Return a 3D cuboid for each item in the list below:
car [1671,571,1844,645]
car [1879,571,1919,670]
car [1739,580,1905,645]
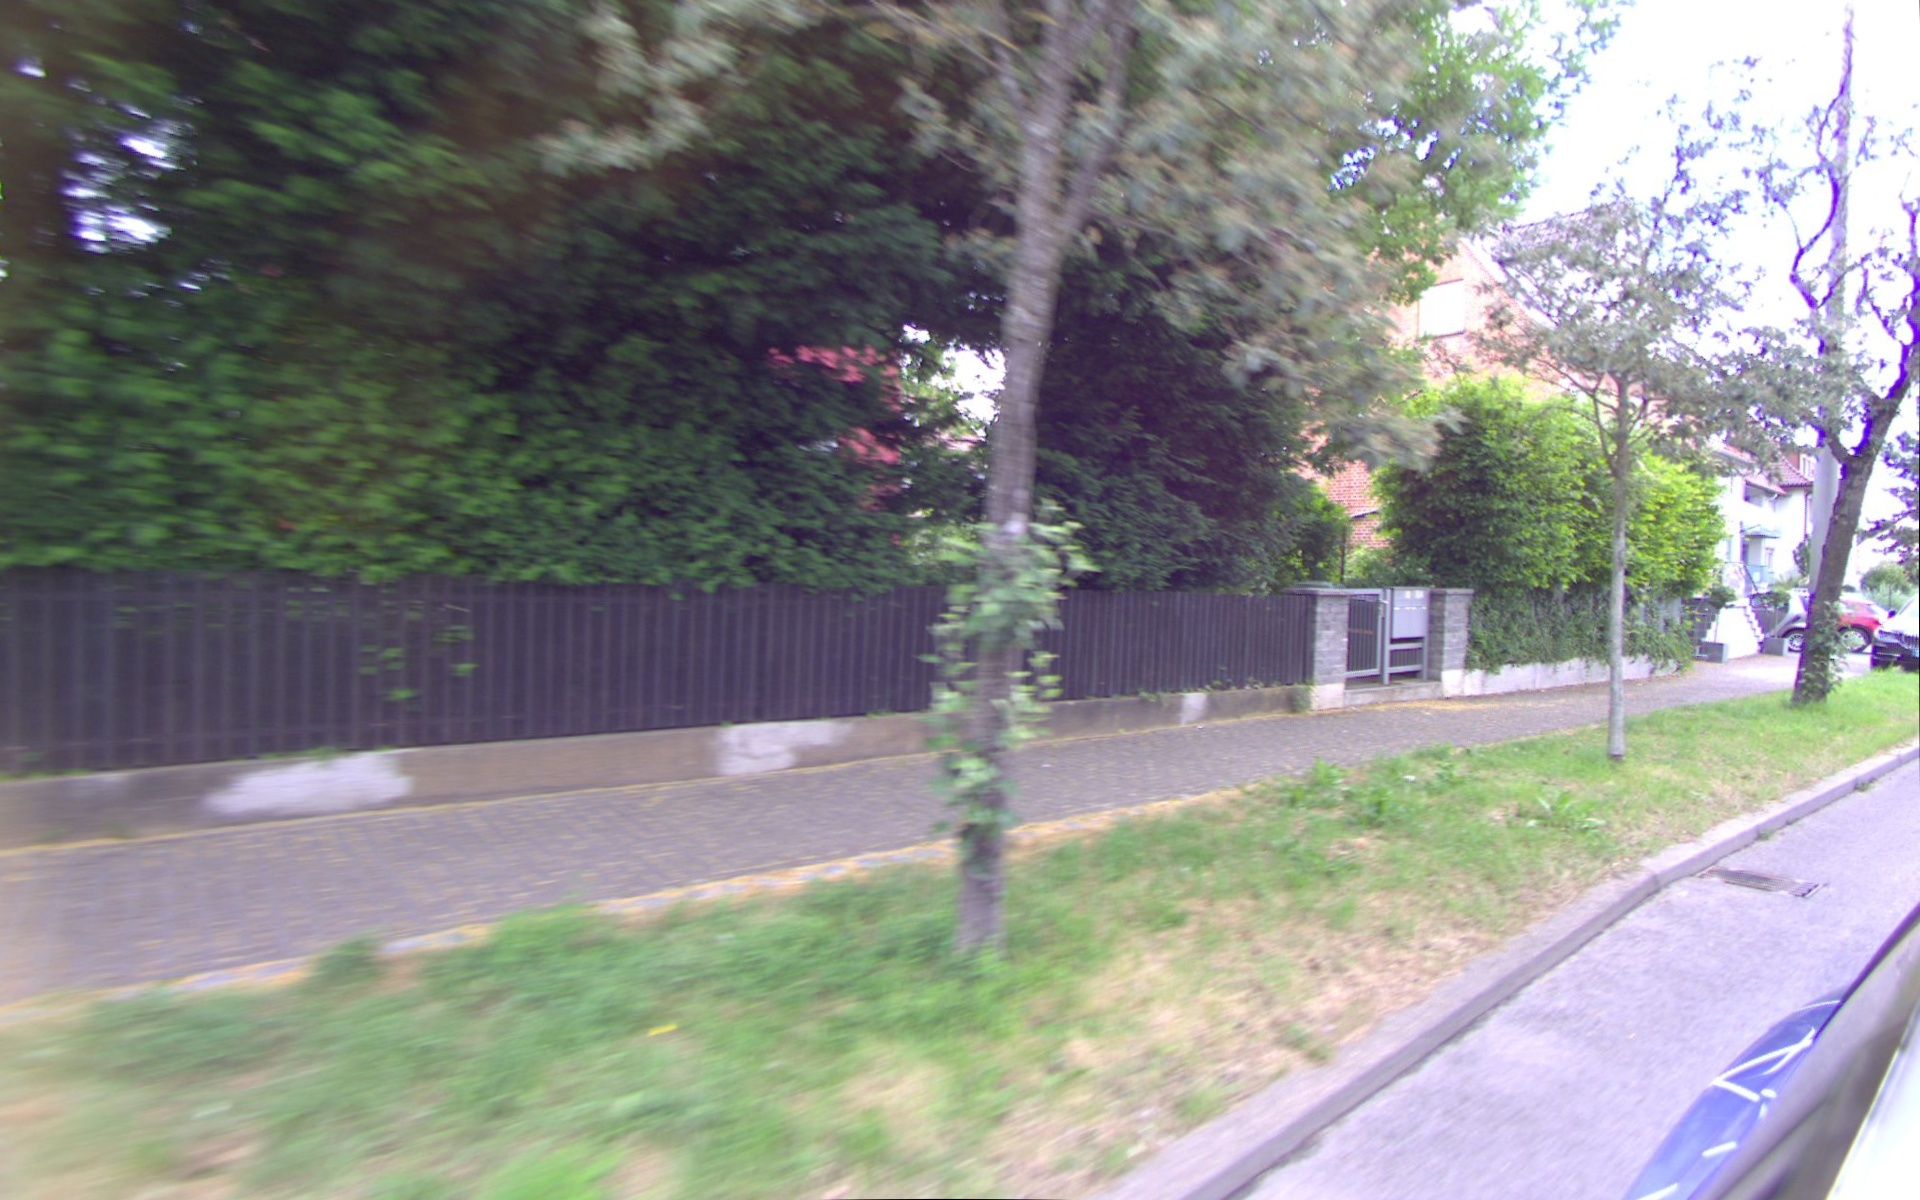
[{"bbox_3d":[21.465,0.171,27.307,1.553,1.653,3.359,0,5,-42],"label":"car"},{"bbox_3d":[20.422,0.440,20.368,4.823,1.859,1.904,0,3,-37],"label":"car"},{"bbox_3d":[24.244,0.307,28.537,1.721,1.476,3.356,0,5,-45],"label":"car"}]
